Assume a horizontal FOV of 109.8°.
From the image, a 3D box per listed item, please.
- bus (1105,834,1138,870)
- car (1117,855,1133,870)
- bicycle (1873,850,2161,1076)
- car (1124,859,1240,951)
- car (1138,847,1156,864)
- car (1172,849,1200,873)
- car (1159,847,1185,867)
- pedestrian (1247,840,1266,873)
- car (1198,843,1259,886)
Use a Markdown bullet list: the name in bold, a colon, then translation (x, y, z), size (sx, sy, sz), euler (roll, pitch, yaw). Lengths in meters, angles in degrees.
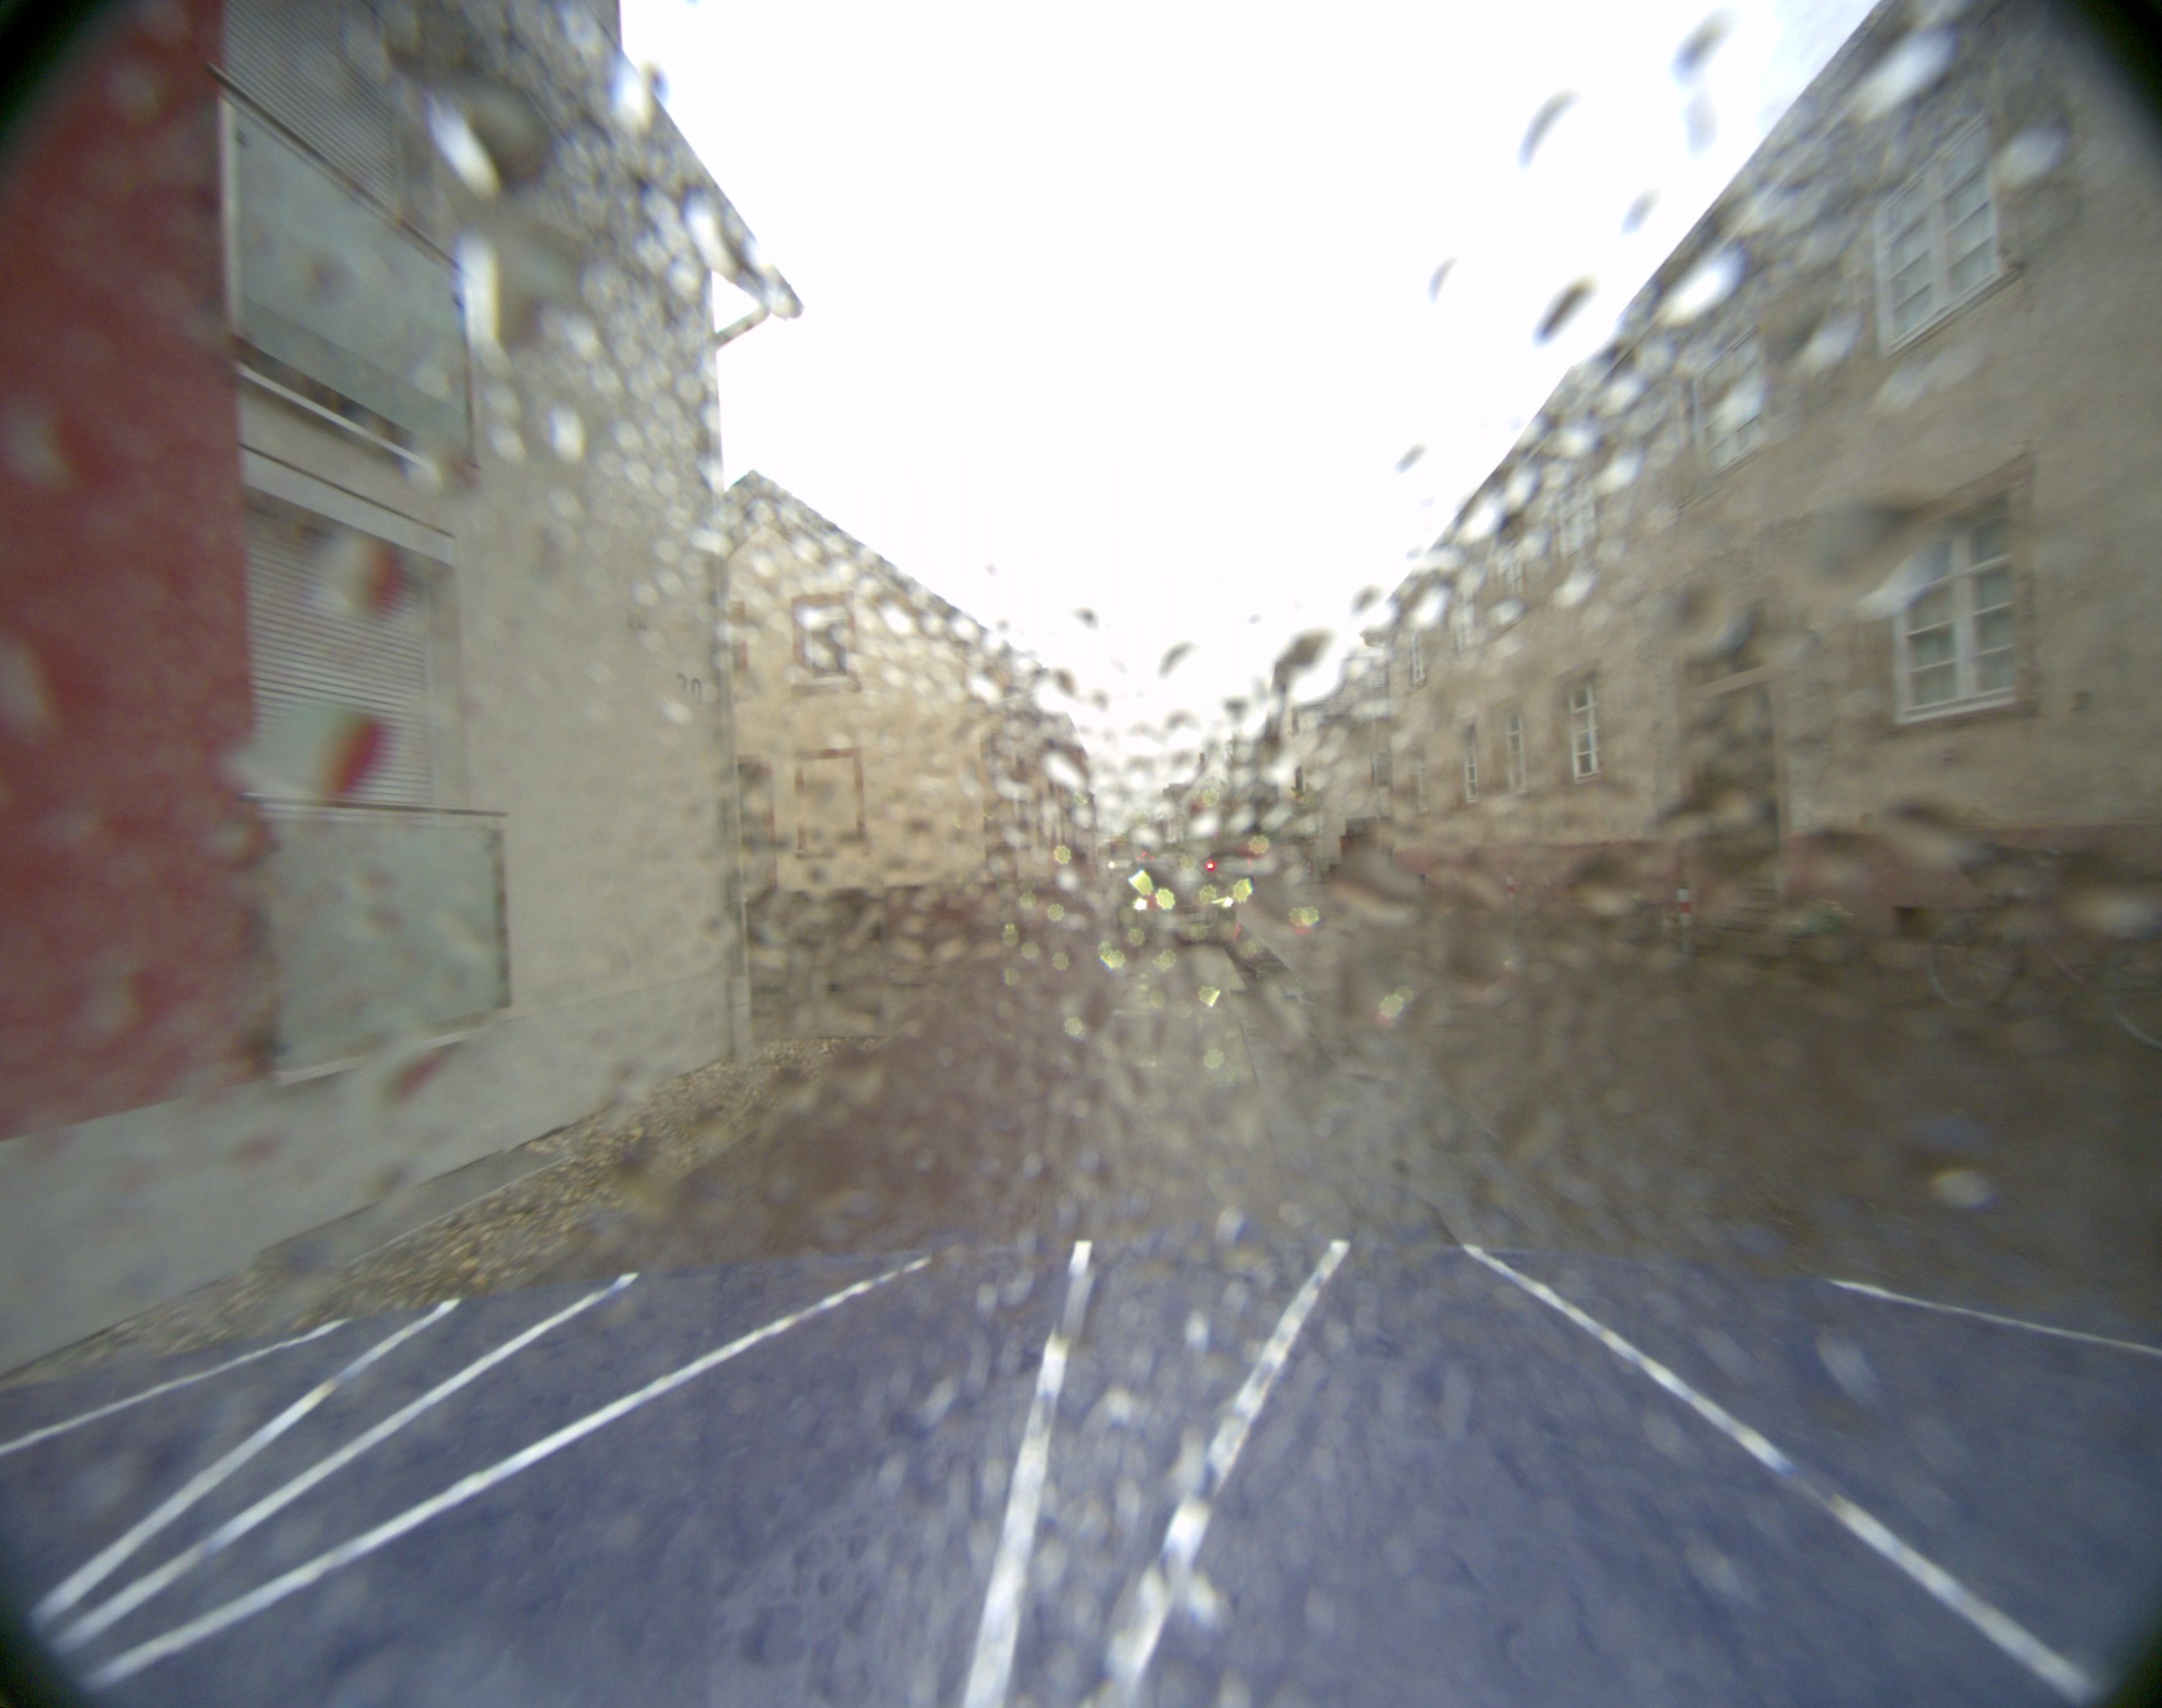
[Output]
- **bus**: translation (3.889, -0.252, 75.469), size (2.668, 3.213, 12.191), euler (-2, 1, 1)
- **car**: translation (5.302, 0.986, 90.732), size (1.784, 1.655, 4.426), euler (-1, 1, 4)
- **bicycle**: translation (6.013, 0.584, 4.614), size (0.483, 1.171, 1.875), euler (-5, 0, 5)
- **car**: translation (1.739, 0.839, 14.262), size (1.739, 1.363, 4.102), euler (-2, 0, 2)
- **car**: translation (6.855, 0.153, 79.037), size (1.626, 1.502, 3.794), euler (-6, 0, 5)
- **car**: translation (7.122, 0.460, 51.614), size (1.608, 1.504, 3.689), euler (-3, 0, 5)
- **car**: translation (7.142, 0.210, 59.889), size (1.700, 1.500, 4.342), euler (-2, 1, 3)
- **pedestrian**: translation (8.294, 0.118, 35.918), size (0.573, 1.529, 0.833), euler (-5, 1, 1)
- **car**: translation (5.973, 0.380, 31.228), size (1.836, 1.546, 4.240), euler (-4, 1, 4)
